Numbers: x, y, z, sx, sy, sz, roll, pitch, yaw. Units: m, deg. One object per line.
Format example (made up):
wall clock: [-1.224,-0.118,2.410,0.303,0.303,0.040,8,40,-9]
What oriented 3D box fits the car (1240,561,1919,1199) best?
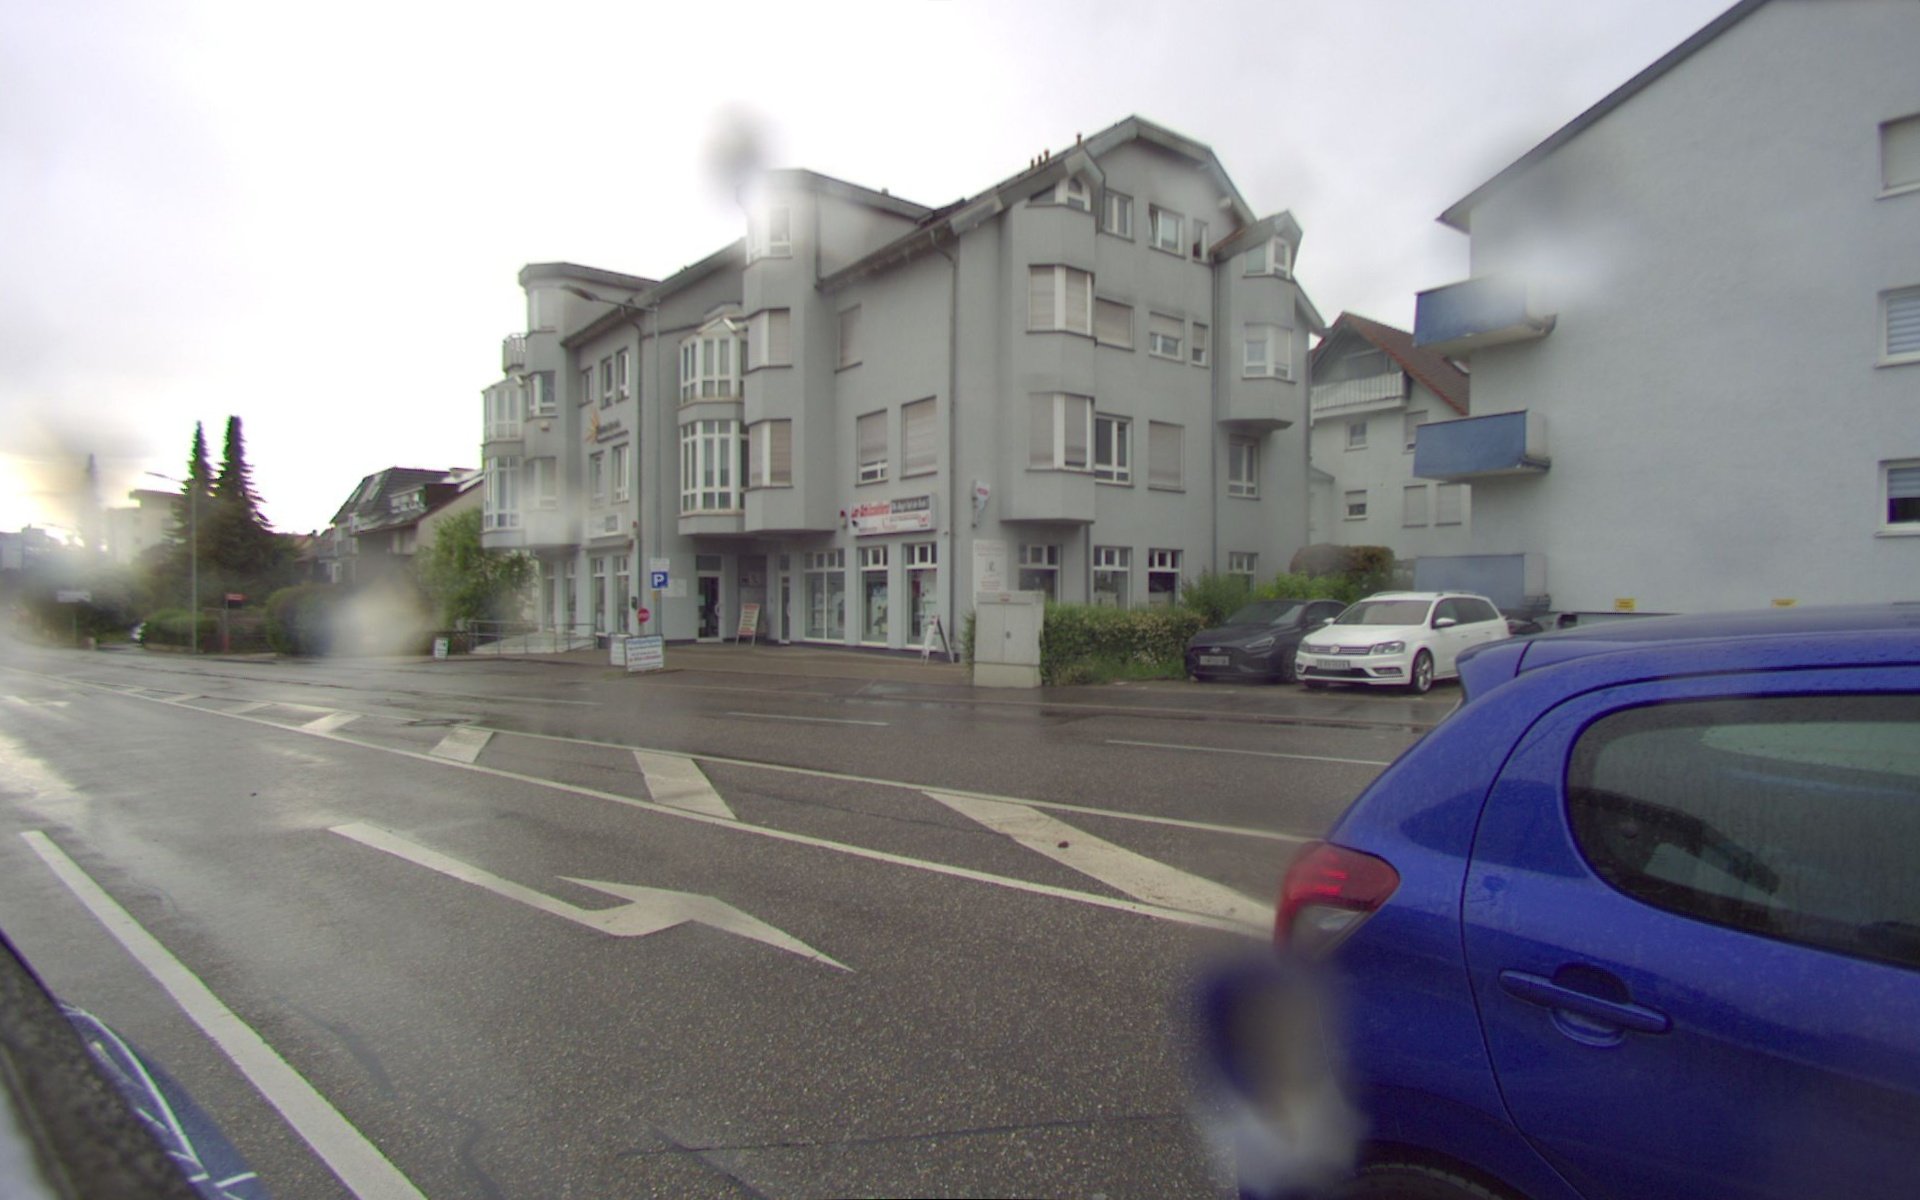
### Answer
car: [2.248,0.636,1.203,3.362,1.423,1.489,-2,-1,41]

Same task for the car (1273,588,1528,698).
car: [6.995,0.603,15.811,4.685,1.471,1.883,0,-2,-42]

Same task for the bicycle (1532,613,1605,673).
bicycle: [11.156,0.791,18.567,1.065,1.061,0.343,-2,-1,41]

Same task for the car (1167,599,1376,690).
car: [5.506,0.689,17.656,1.851,1.366,3.941,-1,0,45]
